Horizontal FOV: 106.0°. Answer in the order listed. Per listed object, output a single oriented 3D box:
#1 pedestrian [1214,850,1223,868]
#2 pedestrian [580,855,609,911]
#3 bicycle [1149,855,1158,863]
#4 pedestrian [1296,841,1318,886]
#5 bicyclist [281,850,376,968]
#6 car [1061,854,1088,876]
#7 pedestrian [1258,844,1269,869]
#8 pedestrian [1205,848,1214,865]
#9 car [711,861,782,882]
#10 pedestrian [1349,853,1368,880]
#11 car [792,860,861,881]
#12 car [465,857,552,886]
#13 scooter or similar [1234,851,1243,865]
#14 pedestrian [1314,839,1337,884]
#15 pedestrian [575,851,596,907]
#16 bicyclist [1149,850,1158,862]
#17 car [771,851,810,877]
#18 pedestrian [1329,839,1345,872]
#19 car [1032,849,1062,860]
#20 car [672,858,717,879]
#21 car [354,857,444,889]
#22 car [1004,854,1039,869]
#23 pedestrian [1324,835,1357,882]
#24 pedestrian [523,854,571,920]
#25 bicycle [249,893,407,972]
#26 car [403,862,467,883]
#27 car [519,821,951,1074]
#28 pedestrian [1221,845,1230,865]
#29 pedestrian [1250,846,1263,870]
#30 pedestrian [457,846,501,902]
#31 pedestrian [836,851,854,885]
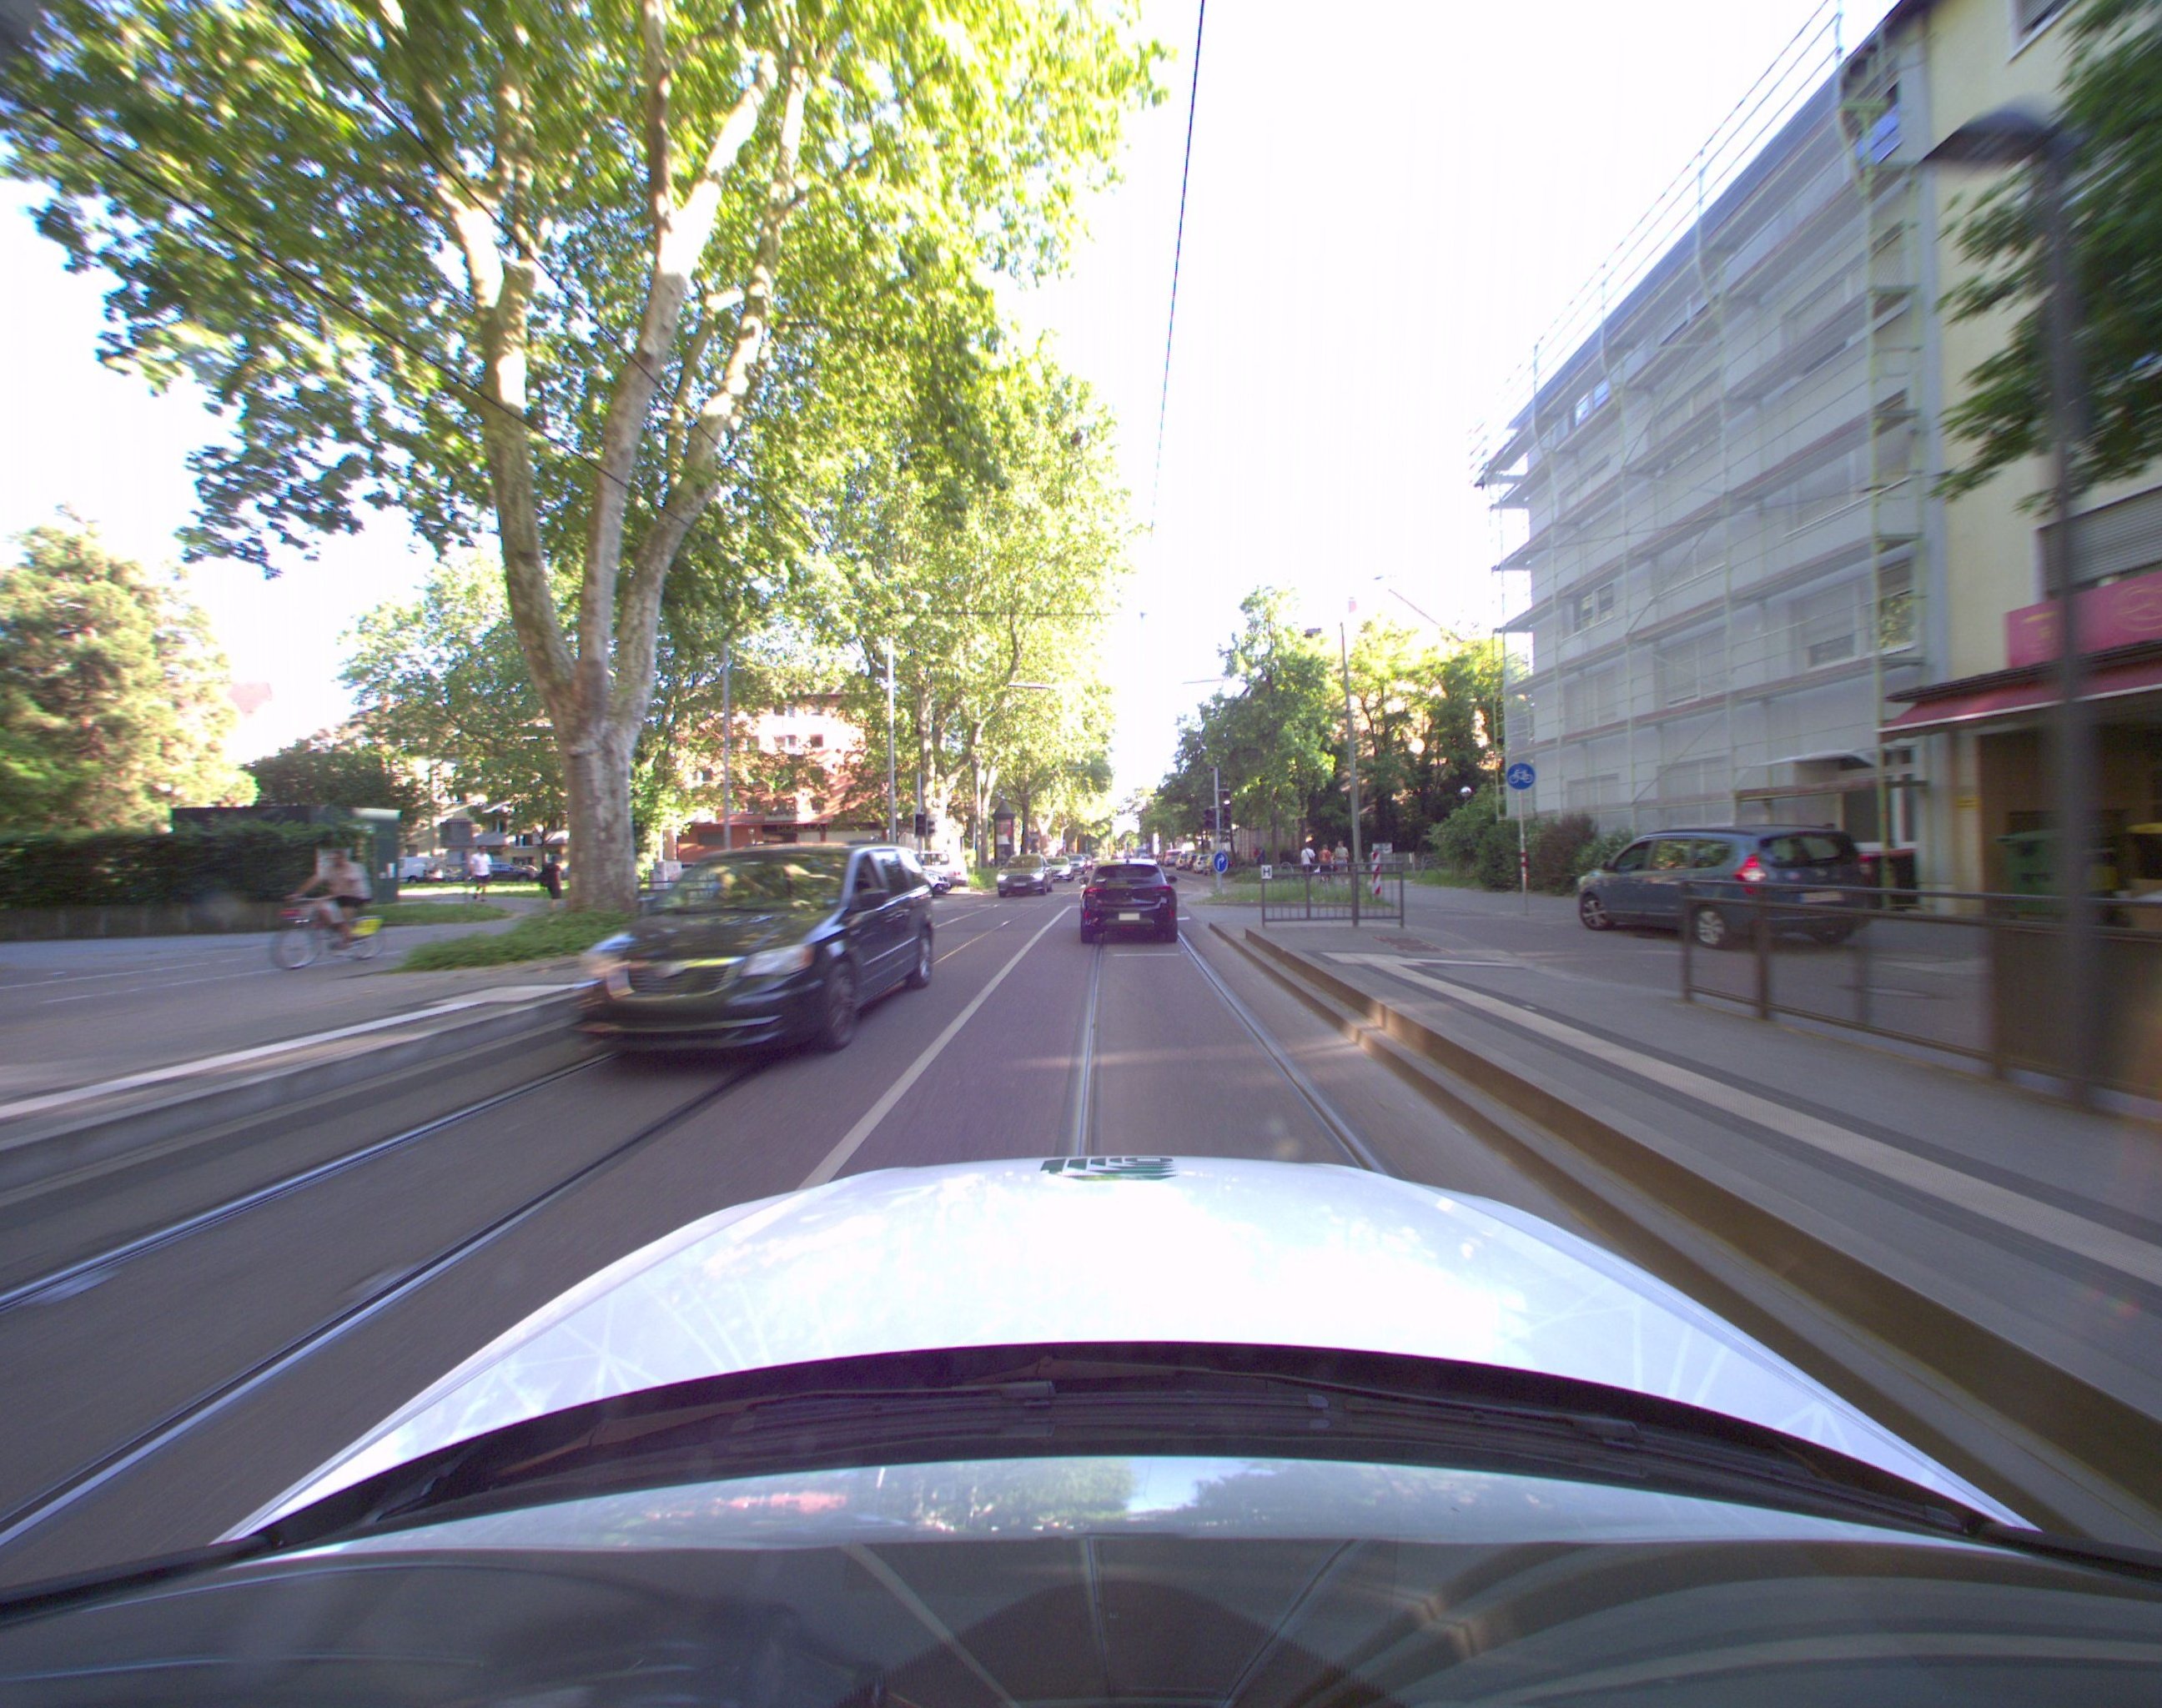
[{"bbox_3d":[13.352,0.472,78.830,0.723,1.709,0.856,0,0,1],"label":"pedestrian"},{"bbox_3d":[-14.592,0.851,24.442,0.698,1.659,0.558,0,-1,-25],"label":"pedestrian"},{"bbox_3d":[9.170,0.674,102.781,0.964,0.999,2.583,0,0,0],"label":"bicycle"},{"bbox_3d":[9.246,0.391,33.295,0.721,1.793,0.856,-3,0,12],"label":"pedestrian"},{"bbox_3d":[-11.794,0.835,12.788,0.697,1.788,0.839,-1,0,3],"label":"bicyclist"},{"bbox_3d":[-0.473,0.860,63.765,1.809,1.568,4.118,-3,0,2],"label":"car"},{"bbox_3d":[13.363,0.206,59.720,0.597,1.793,0.728,0,0,-1],"label":"pedestrian"},{"bbox_3d":[12.468,0.260,78.973,0.723,1.693,0.958,-1,0,3],"label":"pedestrian"},{"bbox_3d":[-24.374,1.250,59.485,4.463,1.450,1.820,0,0,-7],"label":"car"},{"bbox_3d":[11.509,0.513,33.777,0.670,1.118,0.662,-1,0,11],"label":"pedestrian"},{"bbox_3d":[-18.732,1.180,60.164,4.518,1.489,1.857,0,0,-4],"label":"car"},{"bbox_3d":[-41.354,1.213,58.910,4.719,2.014,1.998,0,0,-3],"label":"car"},{"bbox_3d":[13.525,0.339,70.031,0.573,1.246,1.336,-1,0,3],"label":"scooter or similar"},{"bbox_3d":[10.022,0.312,33.421,0.721,1.793,0.971,-3,0,12],"label":"pedestrian"},{"bbox_3d":[-15.424,0.765,25.354,0.535,1.705,0.587,0,-1,-30],"label":"pedestrian"},{"bbox_3d":[9.162,0.197,102.761,0.955,1.499,1.094,0,0,0],"label":"bicyclist"},{"bbox_3d":[-23.917,0.788,67.160,1.992,2.003,4.907,0,0,-7],"label":"car"},{"bbox_3d":[13.531,0.089,43.032,0.618,1.725,0.552,0,-1,-13],"label":"pedestrian"},{"bbox_3d":[-4.934,0.045,117.820,4.287,1.607,1.925,-1,0,-1],"label":"car"},{"bbox_3d":[-31.968,1.161,67.539,1.942,1.618,4.475,0,0,-6],"label":"car"},{"bbox_3d":[-49.430,1.368,59.086,4.717,2.197,2.042,0,0,-2],"label":"car"},{"bbox_3d":[-6.141,0.792,84.835,3.405,1.465,1.698,-1,0,3],"label":"car"},{"bbox_3d":[10.650,0.191,33.455,0.869,1.885,0.992,0,0,-16],"label":"pedestrian"},{"bbox_3d":[-13.637,0.830,20.822,0.707,1.673,0.779,0,0,1],"label":"pedestrian"},{"bbox_3d":[-11.780,1.197,12.834,0.712,1.063,1.841,-1,0,3],"label":"bicycle"},{"bbox_3d":[-52.280,1.461,66.003,1.942,1.618,4.475,0,0,-6],"label":"car"},{"bbox_3d":[-2.780,0.651,8.147,1.986,1.716,5.145,-1,0,2],"label":"car"},{"bbox_3d":[13.302,0.104,75.048,0.725,1.793,0.599,0,0,-6],"label":"pedestrian"},{"bbox_3d":[13.025,0.314,60.461,0.727,1.793,0.597,0,-1,-16],"label":"pedestrian"},{"bbox_3d":[-19.195,0.624,25.988,0.835,1.737,0.921,-1,-1,36],"label":"pedestrian"},{"bbox_3d":[-12.692,0.762,43.778,0.640,1.809,0.753,-1,0,7],"label":"pedestrian"}]
